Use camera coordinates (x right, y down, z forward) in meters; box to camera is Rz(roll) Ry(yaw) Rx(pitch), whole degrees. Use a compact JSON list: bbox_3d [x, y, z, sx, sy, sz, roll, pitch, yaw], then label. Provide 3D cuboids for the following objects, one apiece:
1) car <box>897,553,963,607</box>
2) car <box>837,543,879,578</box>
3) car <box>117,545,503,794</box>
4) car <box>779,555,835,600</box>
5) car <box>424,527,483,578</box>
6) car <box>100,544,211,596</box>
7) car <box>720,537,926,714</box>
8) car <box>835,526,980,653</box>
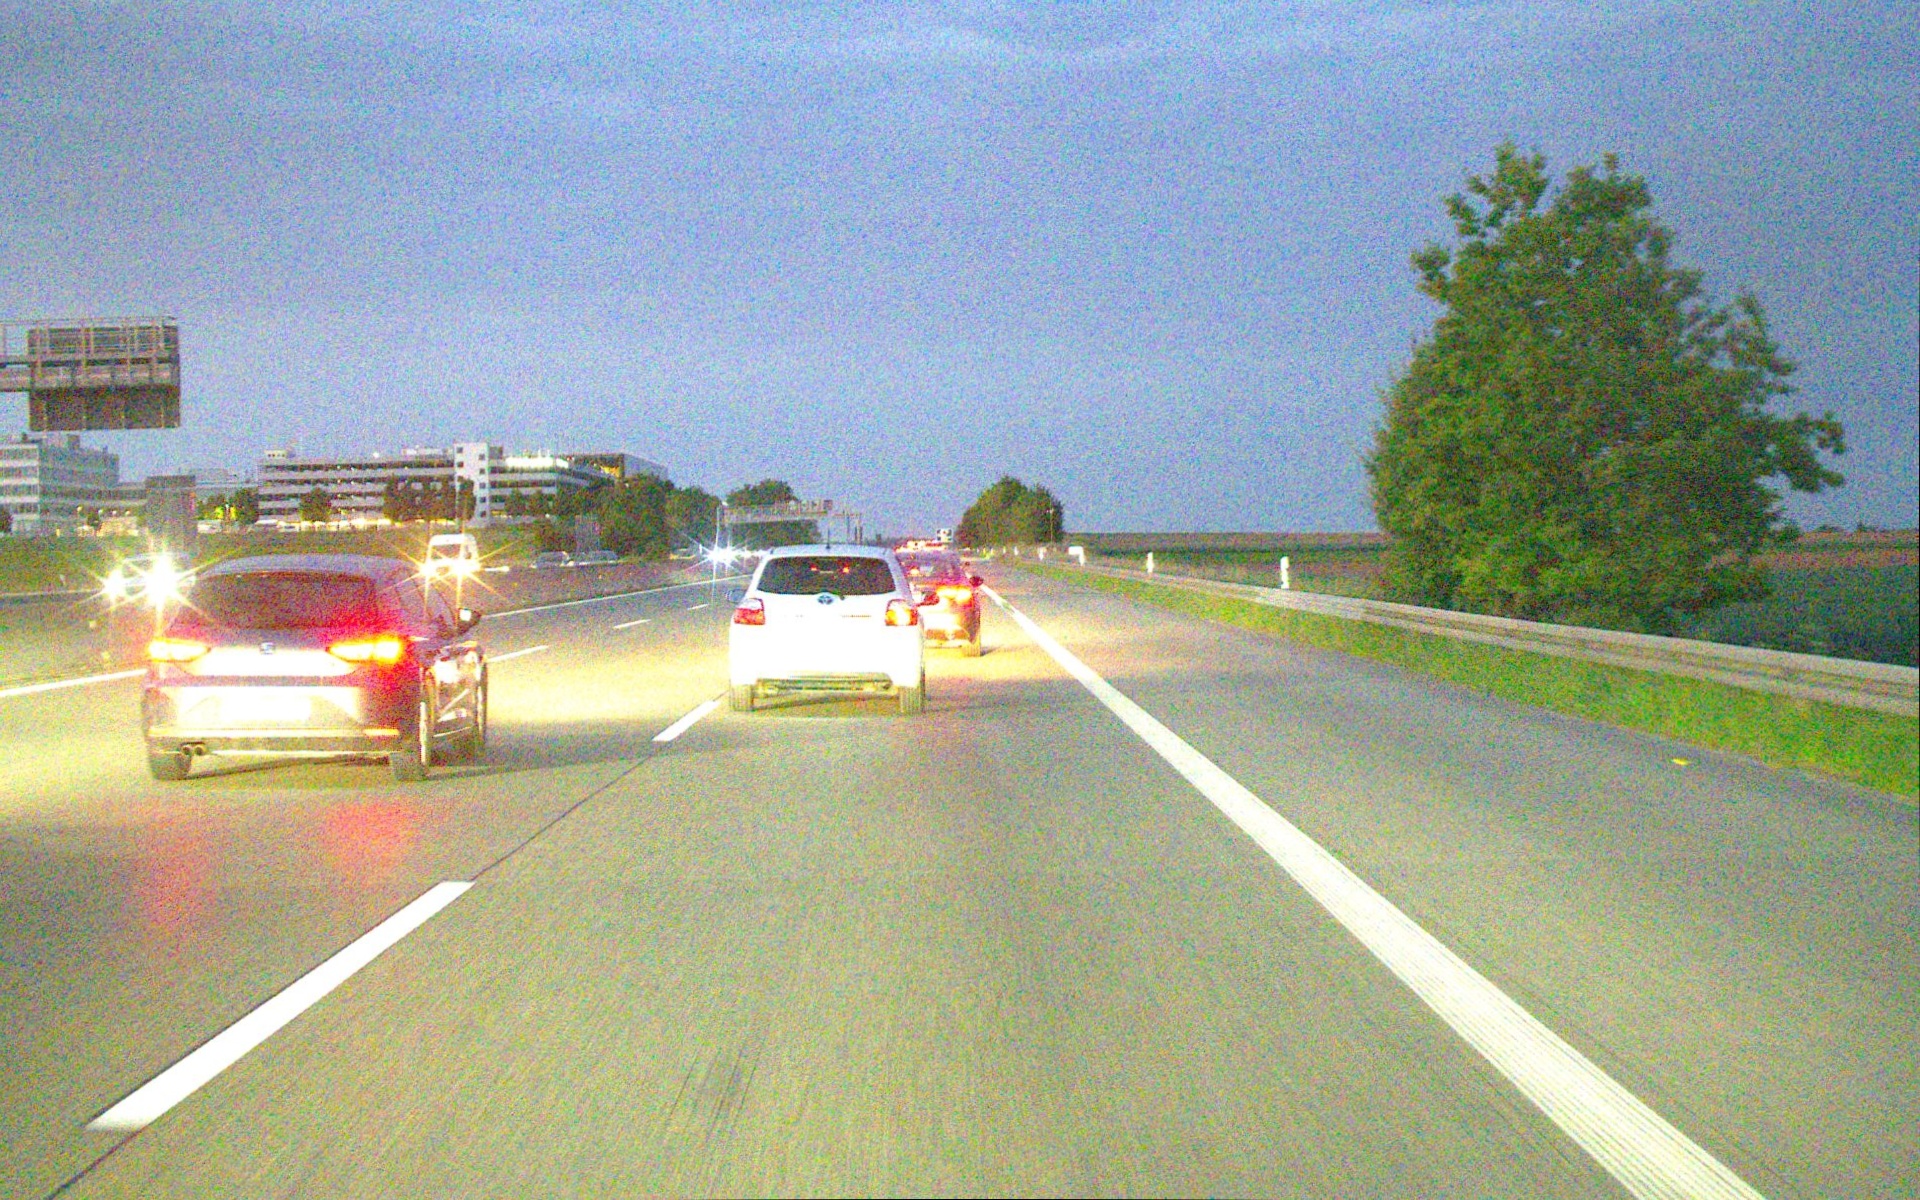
[{"bbox_3d":[-0.916,-0.591,101.502,1.880,1.547,4.000,1,0,-1],"label":"car"},{"bbox_3d":[-5.535,-2.148,187.546,2.199,1.873,4.000,1,0,-1],"label":"car"},{"bbox_3d":[-4.184,0.399,22.836,1.722,1.466,4.726,1,0,-1],"label":"car"},{"bbox_3d":[-5.394,-0.781,121.666,1.880,1.547,4.000,1,0,-1],"label":"car"},{"bbox_3d":[-24.403,-2.263,165.925,1.993,2.379,5.836,1,0,0],"label":"car"},{"bbox_3d":[-24.249,-0.895,103.859,1.993,1.516,5.836,1,0,0],"label":"car"},{"bbox_3d":[-1.217,0.209,32.218,1.744,1.519,4.414,1,0,0],"label":"car"},{"bbox_3d":[-0.709,-0.153,47.142,1.880,1.637,4.000,1,0,-1],"label":"car"}]
